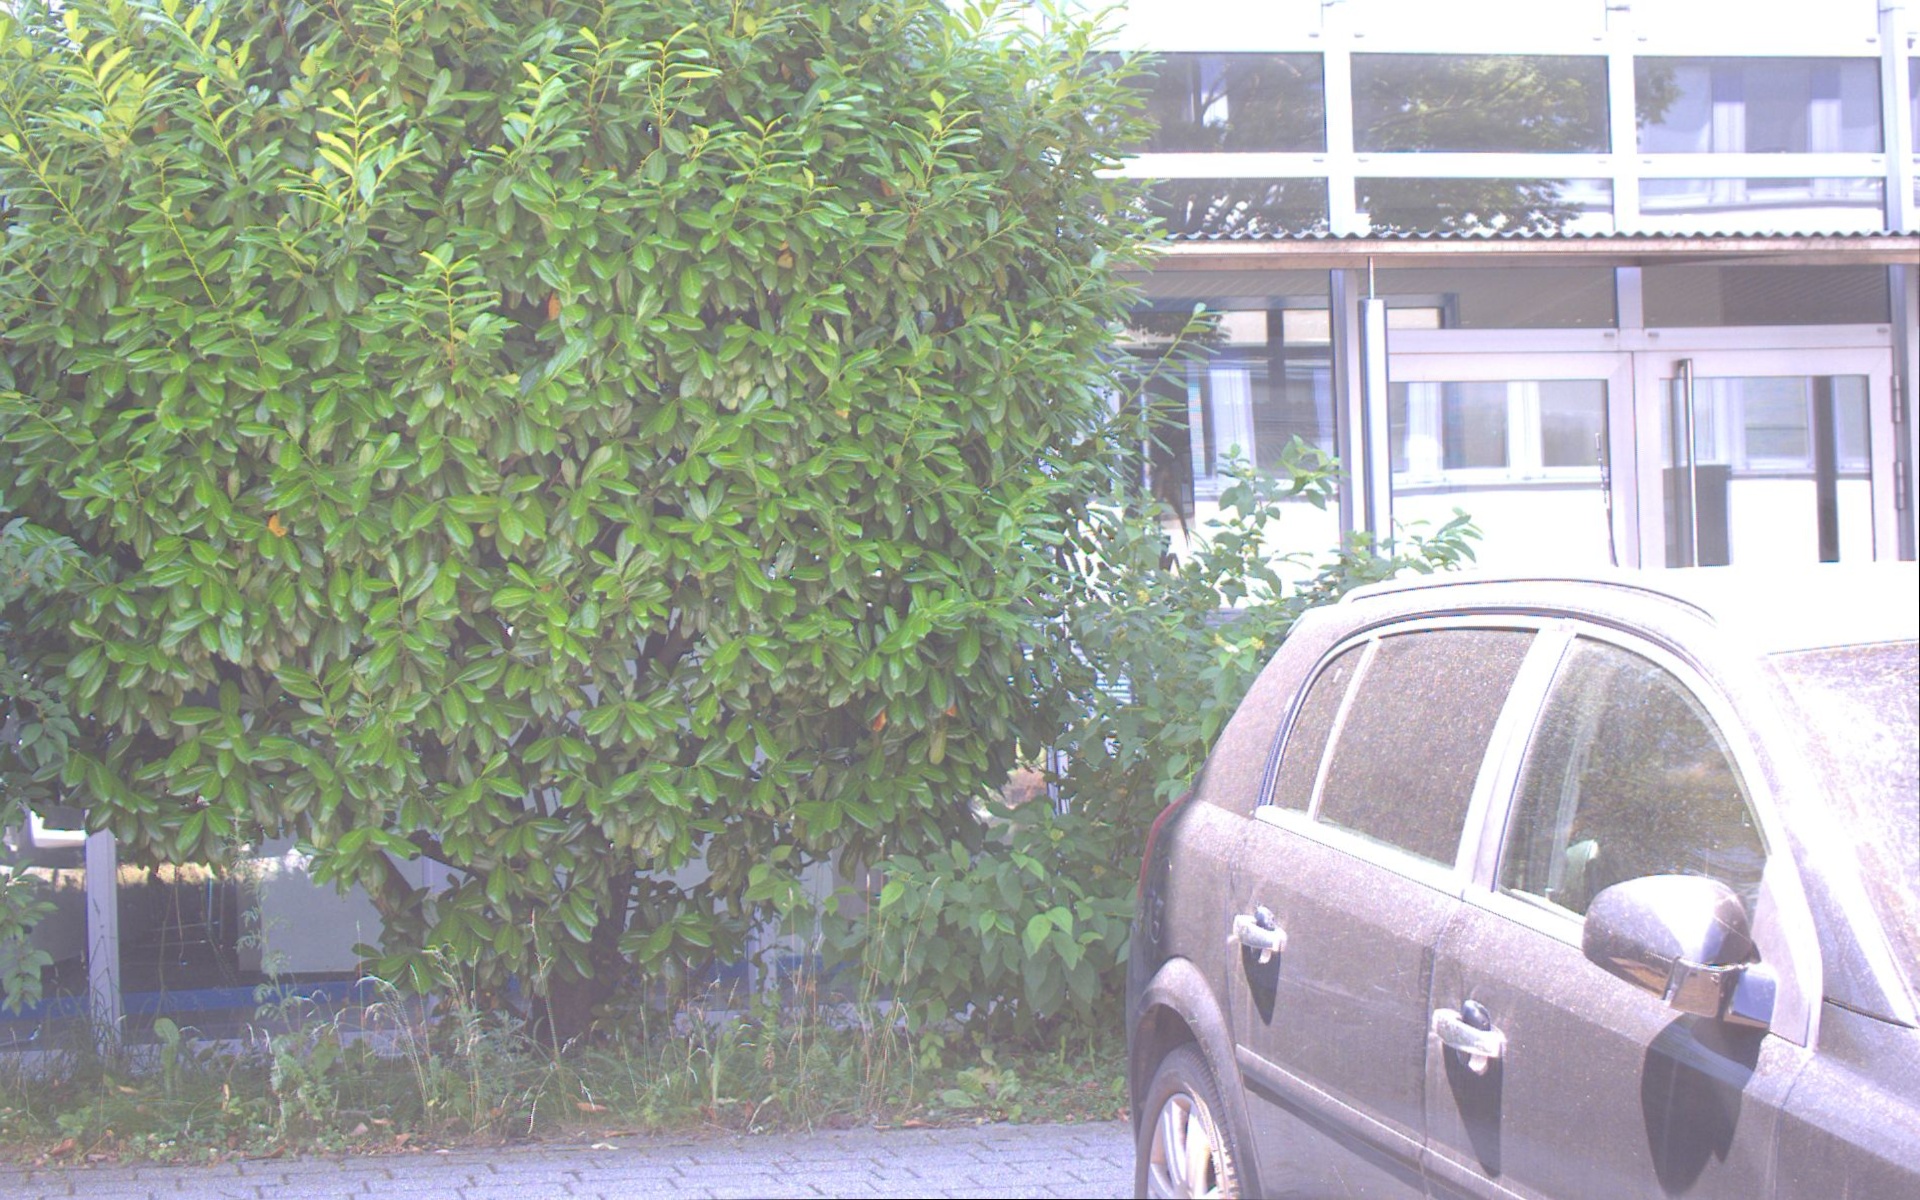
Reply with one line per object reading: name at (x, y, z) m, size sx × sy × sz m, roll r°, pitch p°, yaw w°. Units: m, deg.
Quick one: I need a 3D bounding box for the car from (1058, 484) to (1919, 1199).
car at (1.532, 0.656, 4.756) m, size 1.757 × 1.544 × 4.566 m, roll 0°, pitch 0°, yaw -12°
